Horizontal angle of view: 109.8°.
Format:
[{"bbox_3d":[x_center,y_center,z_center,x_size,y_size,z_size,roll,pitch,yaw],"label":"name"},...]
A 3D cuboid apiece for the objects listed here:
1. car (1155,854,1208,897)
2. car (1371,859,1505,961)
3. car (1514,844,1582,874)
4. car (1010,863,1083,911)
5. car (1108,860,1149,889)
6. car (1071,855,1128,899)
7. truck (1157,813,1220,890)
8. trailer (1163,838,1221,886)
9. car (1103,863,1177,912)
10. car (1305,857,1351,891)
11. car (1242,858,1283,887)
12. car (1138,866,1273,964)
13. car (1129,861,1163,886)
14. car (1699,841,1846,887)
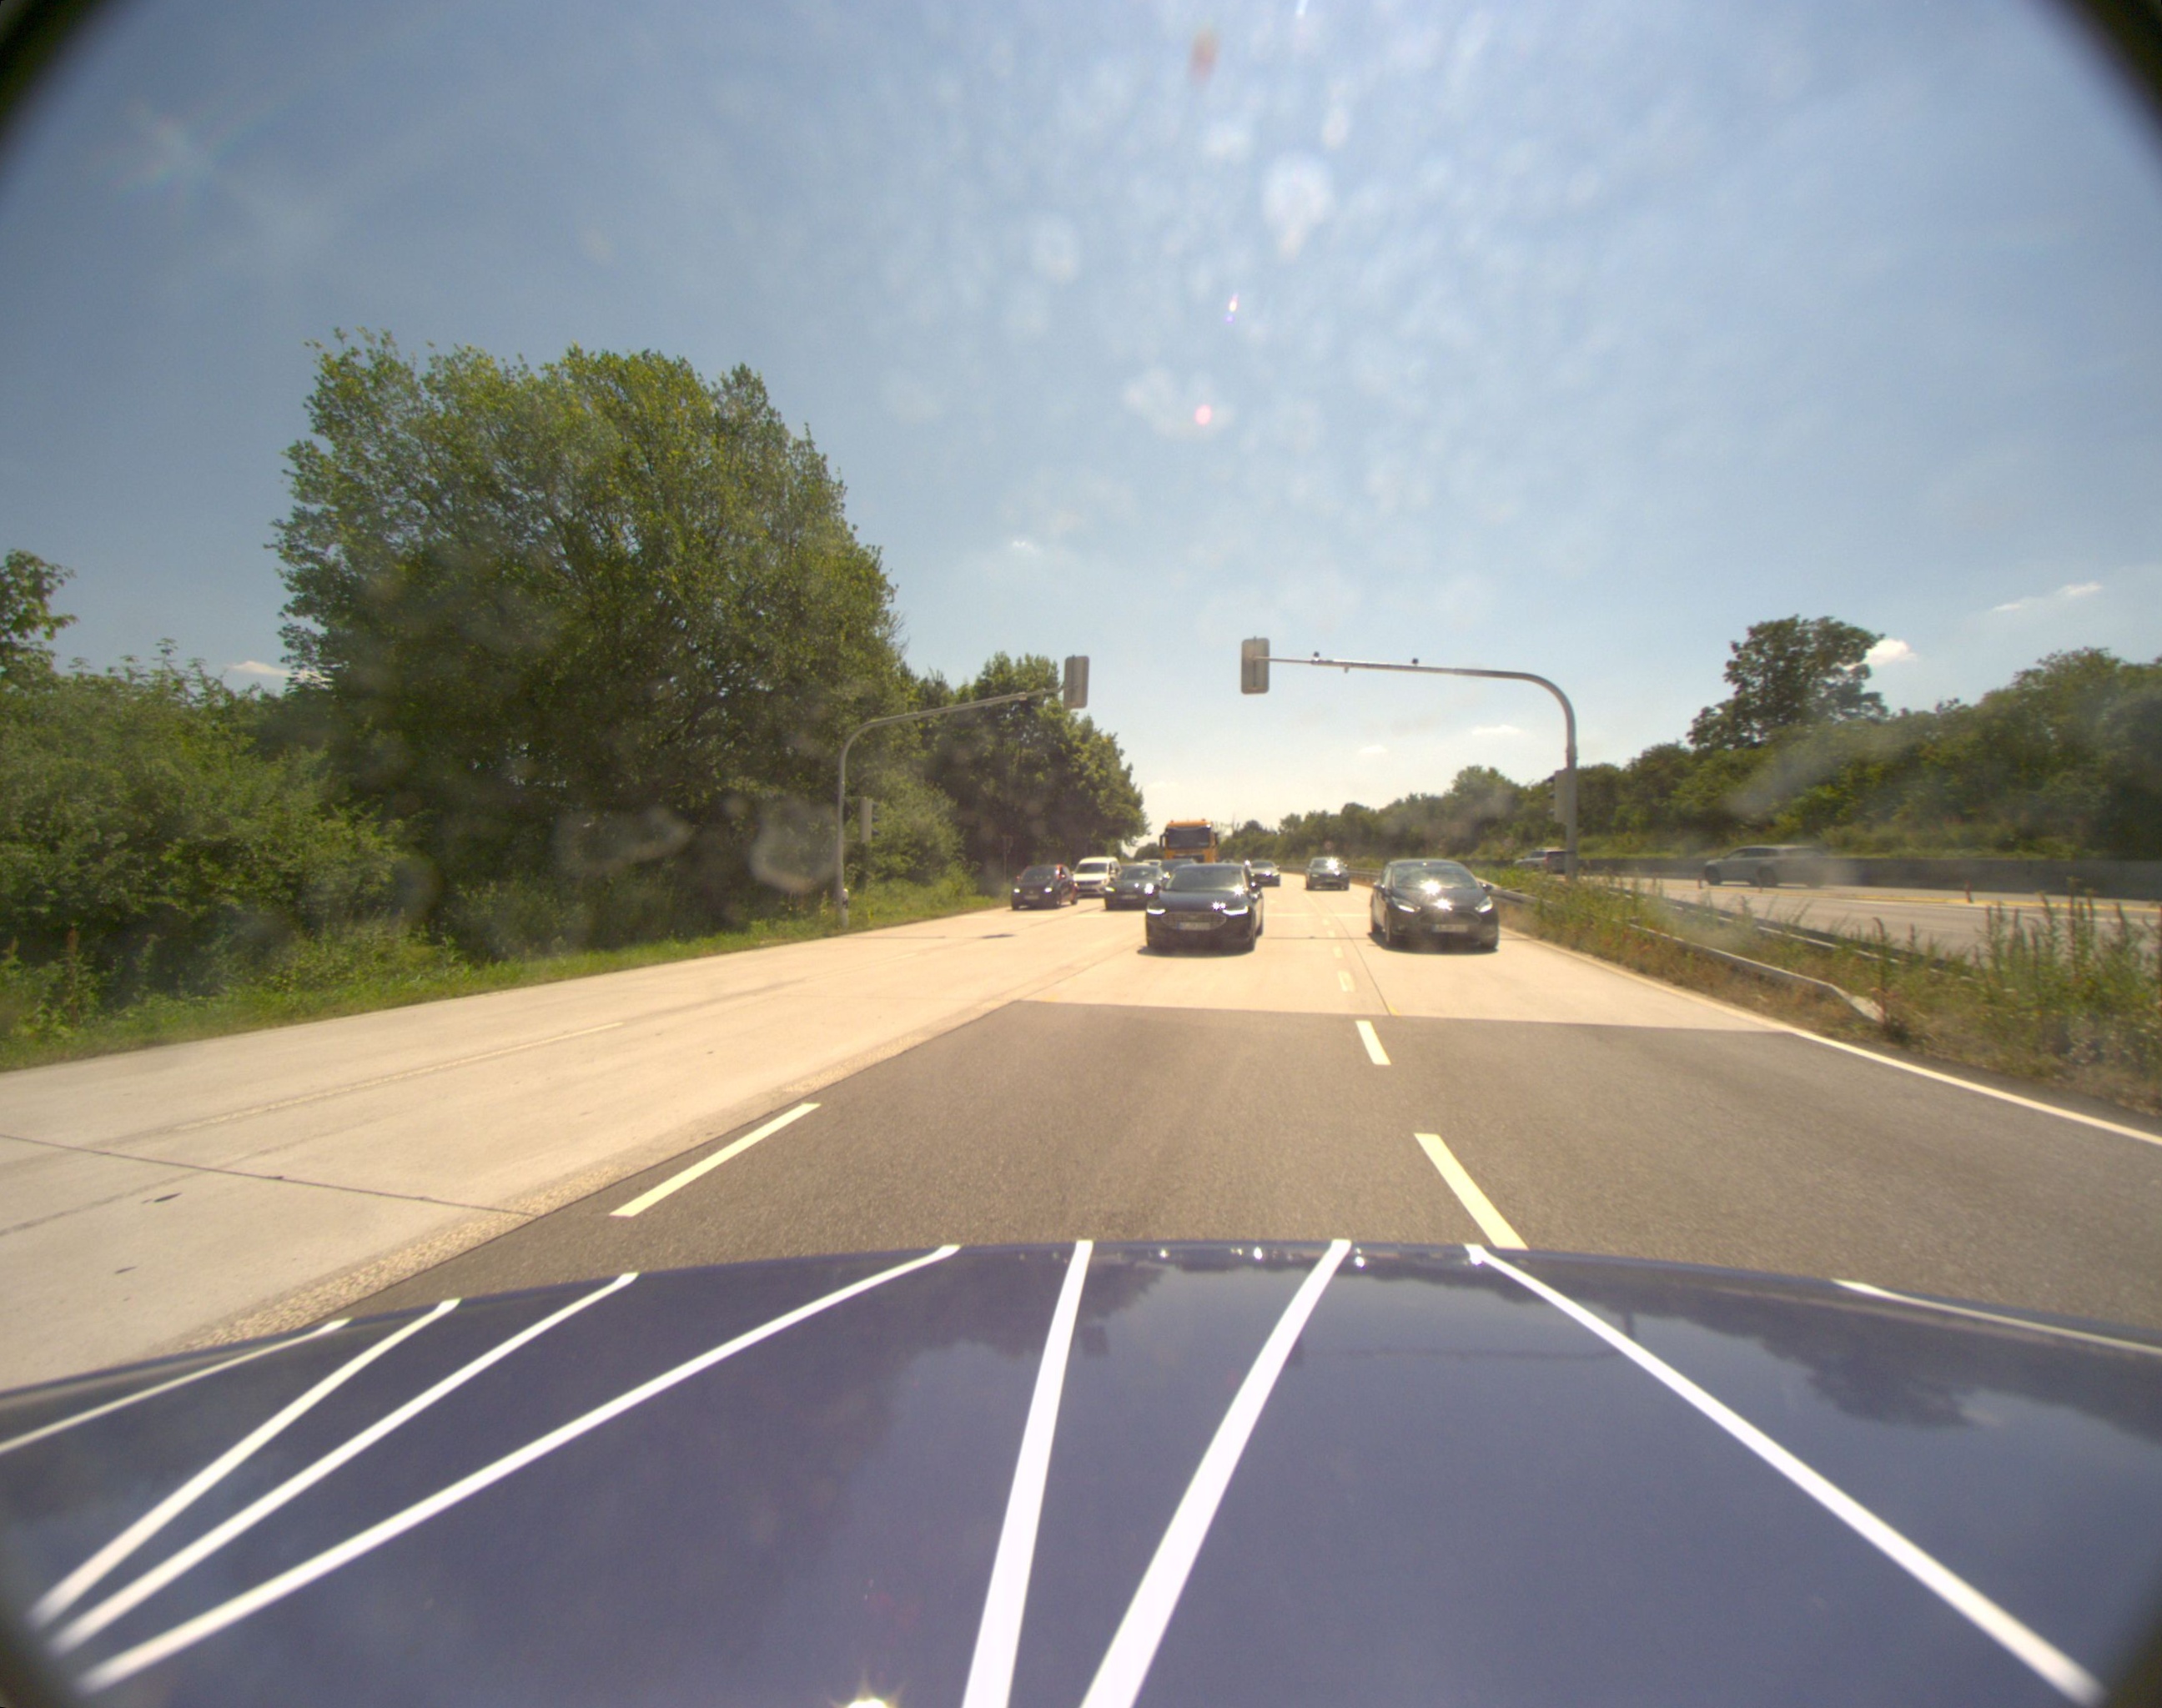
[{"bbox_3d":[4.399,0.873,32.756,1.786,1.630,4.652,-1,0,13],"label":"car"},{"bbox_3d":[6.242,0.881,13.678,1.625,1.476,4.005,-1,0,17],"label":"car"},{"bbox_3d":[29.426,0.290,48.066,1.997,1.762,4.861,-1,0,10],"label":"car"},{"bbox_3d":[-1.161,1.137,27.294,1.770,1.500,3.654,-1,0,11],"label":"car"},{"bbox_3d":[2.733,1.123,42.833,1.770,1.453,4.368,-1,0,11],"label":"car"},{"bbox_3d":[0.925,0.968,34.276,1.770,1.797,4.796,-1,0,11],"label":"car"},{"bbox_3d":[5.987,-0.151,41.299,3.018,3.750,7.476,-1,0,11],"label":"truck"},{"bbox_3d":[7.553,0.462,49.522,3.032,2.578,16.371,-1,0,11],"label":"trailer"},{"bbox_3d":[2.103,1.081,25.798,1.770,1.402,4.614,-1,0,14],"label":"car"},{"bbox_3d":[11.954,0.934,36.966,1.704,1.456,4.003,-1,0,12],"label":"car"},{"bbox_3d":[10.140,0.995,42.682,1.889,1.456,4.003,-1,0,9],"label":"car"},{"bbox_3d":[2.440,0.991,13.950,1.728,1.430,4.310,-1,0,19],"label":"car"},{"bbox_3d":[4.238,1.196,49.029,1.771,1.453,4.601,-1,0,10],"label":"car"},{"bbox_3d":[27.417,0.353,30.396,1.997,1.682,4.659,-1,0,6],"label":"car"}]
